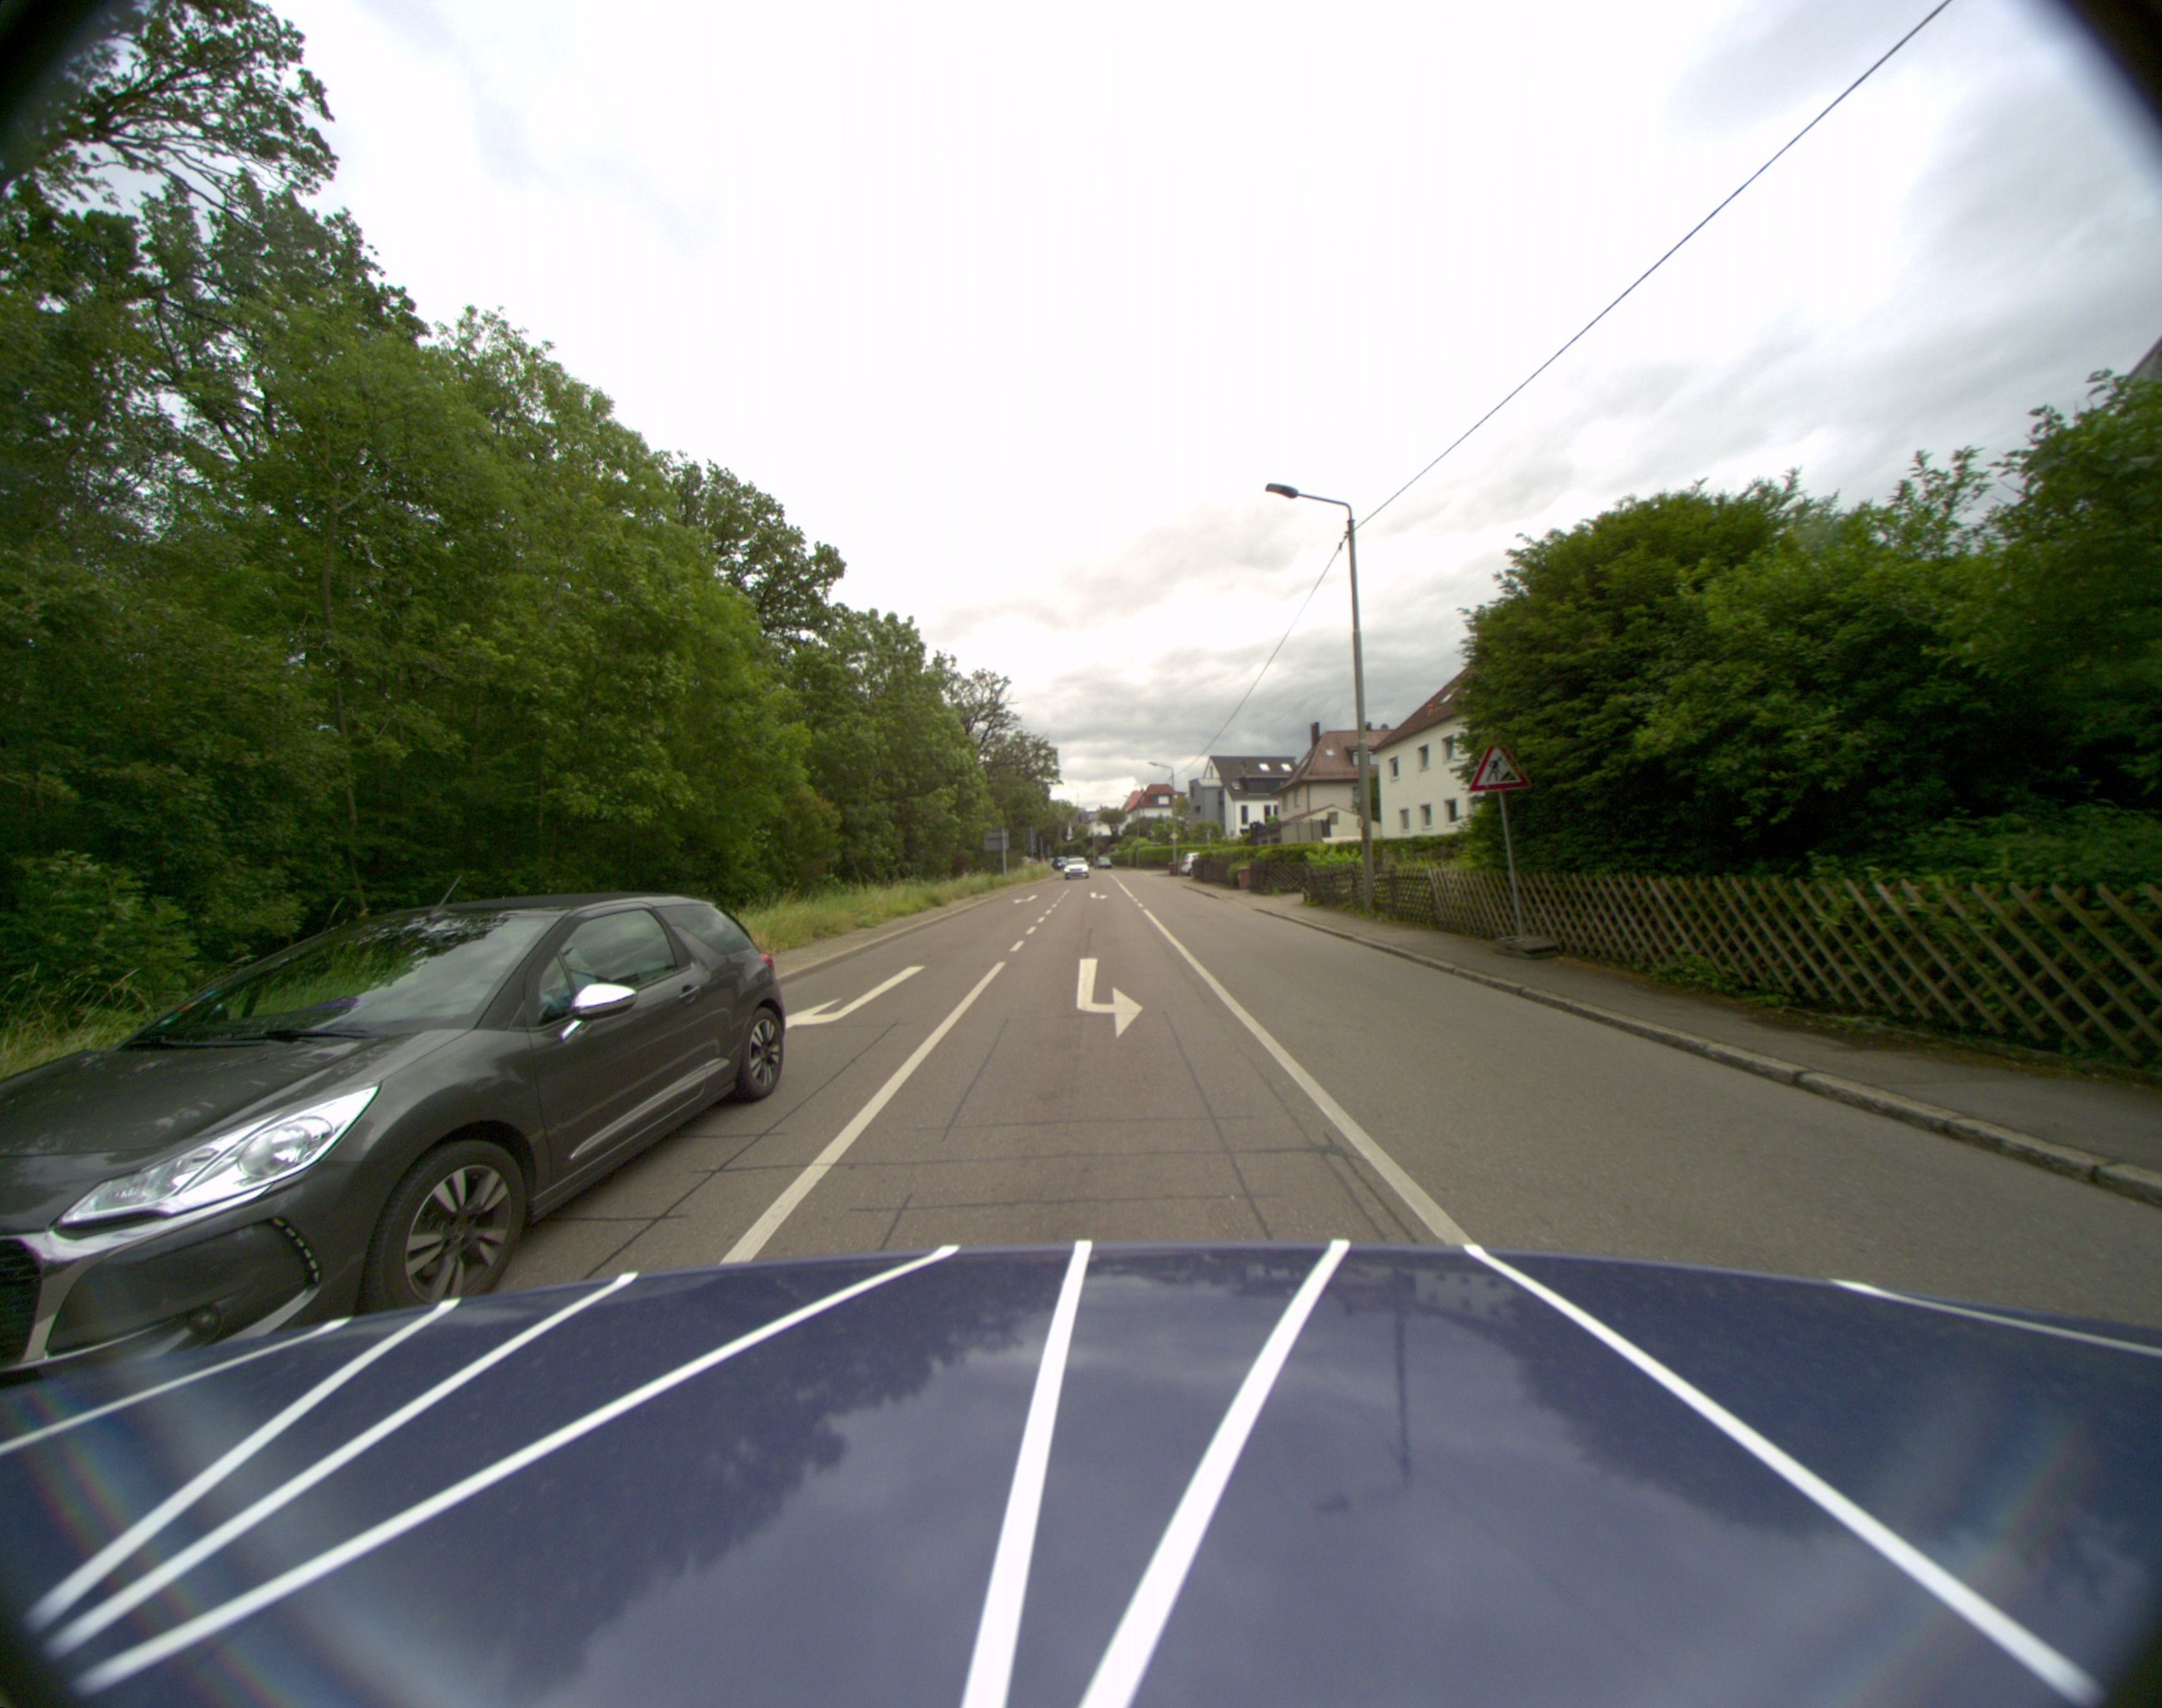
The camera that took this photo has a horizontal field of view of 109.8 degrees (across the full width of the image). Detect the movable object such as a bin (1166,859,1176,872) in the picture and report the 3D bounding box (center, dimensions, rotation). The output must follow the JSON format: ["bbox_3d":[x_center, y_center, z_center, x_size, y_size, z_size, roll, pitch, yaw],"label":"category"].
[{"bbox_3d":[6.587,0.832,55.618,0.690,0.948,0.572,-2,1,-1],"label":"movable object such as a bin"}]

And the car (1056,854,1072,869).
[{"bbox_3d":[-2.309,1.009,103.241,1.998,2.002,4.000,-2,0,1],"label":"car"}]

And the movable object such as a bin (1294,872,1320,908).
[{"bbox_3d":[6.224,0.987,20.911,0.551,0.933,0.538,-2,1,3],"label":"movable object such as a bin"}]

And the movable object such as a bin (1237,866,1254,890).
[{"bbox_3d":[6.617,0.958,30.547,0.634,0.907,0.561,-3,0,11],"label":"movable object such as a bin"}]

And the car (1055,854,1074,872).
[{"bbox_3d":[-1.945,1.038,88.501,1.998,2.002,4.000,-2,0,1],"label":"car"}]

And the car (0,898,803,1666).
[{"bbox_3d":[-3.018,1.095,3.629,1.730,1.449,3.855,-3,0,3],"label":"car"}]

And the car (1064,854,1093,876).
[{"bbox_3d":[-0.189,0.856,60.244,1.998,1.565,4.000,-2,0,3],"label":"car"}]

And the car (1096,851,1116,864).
[{"bbox_3d":[3.148,0.465,97.912,1.840,1.514,3.997,-2,0,-9],"label":"car"}]

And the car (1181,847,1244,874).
[{"bbox_3d":[9.046,0.440,52.525,3.997,1.584,1.718,-4,0,1],"label":"car"}]
